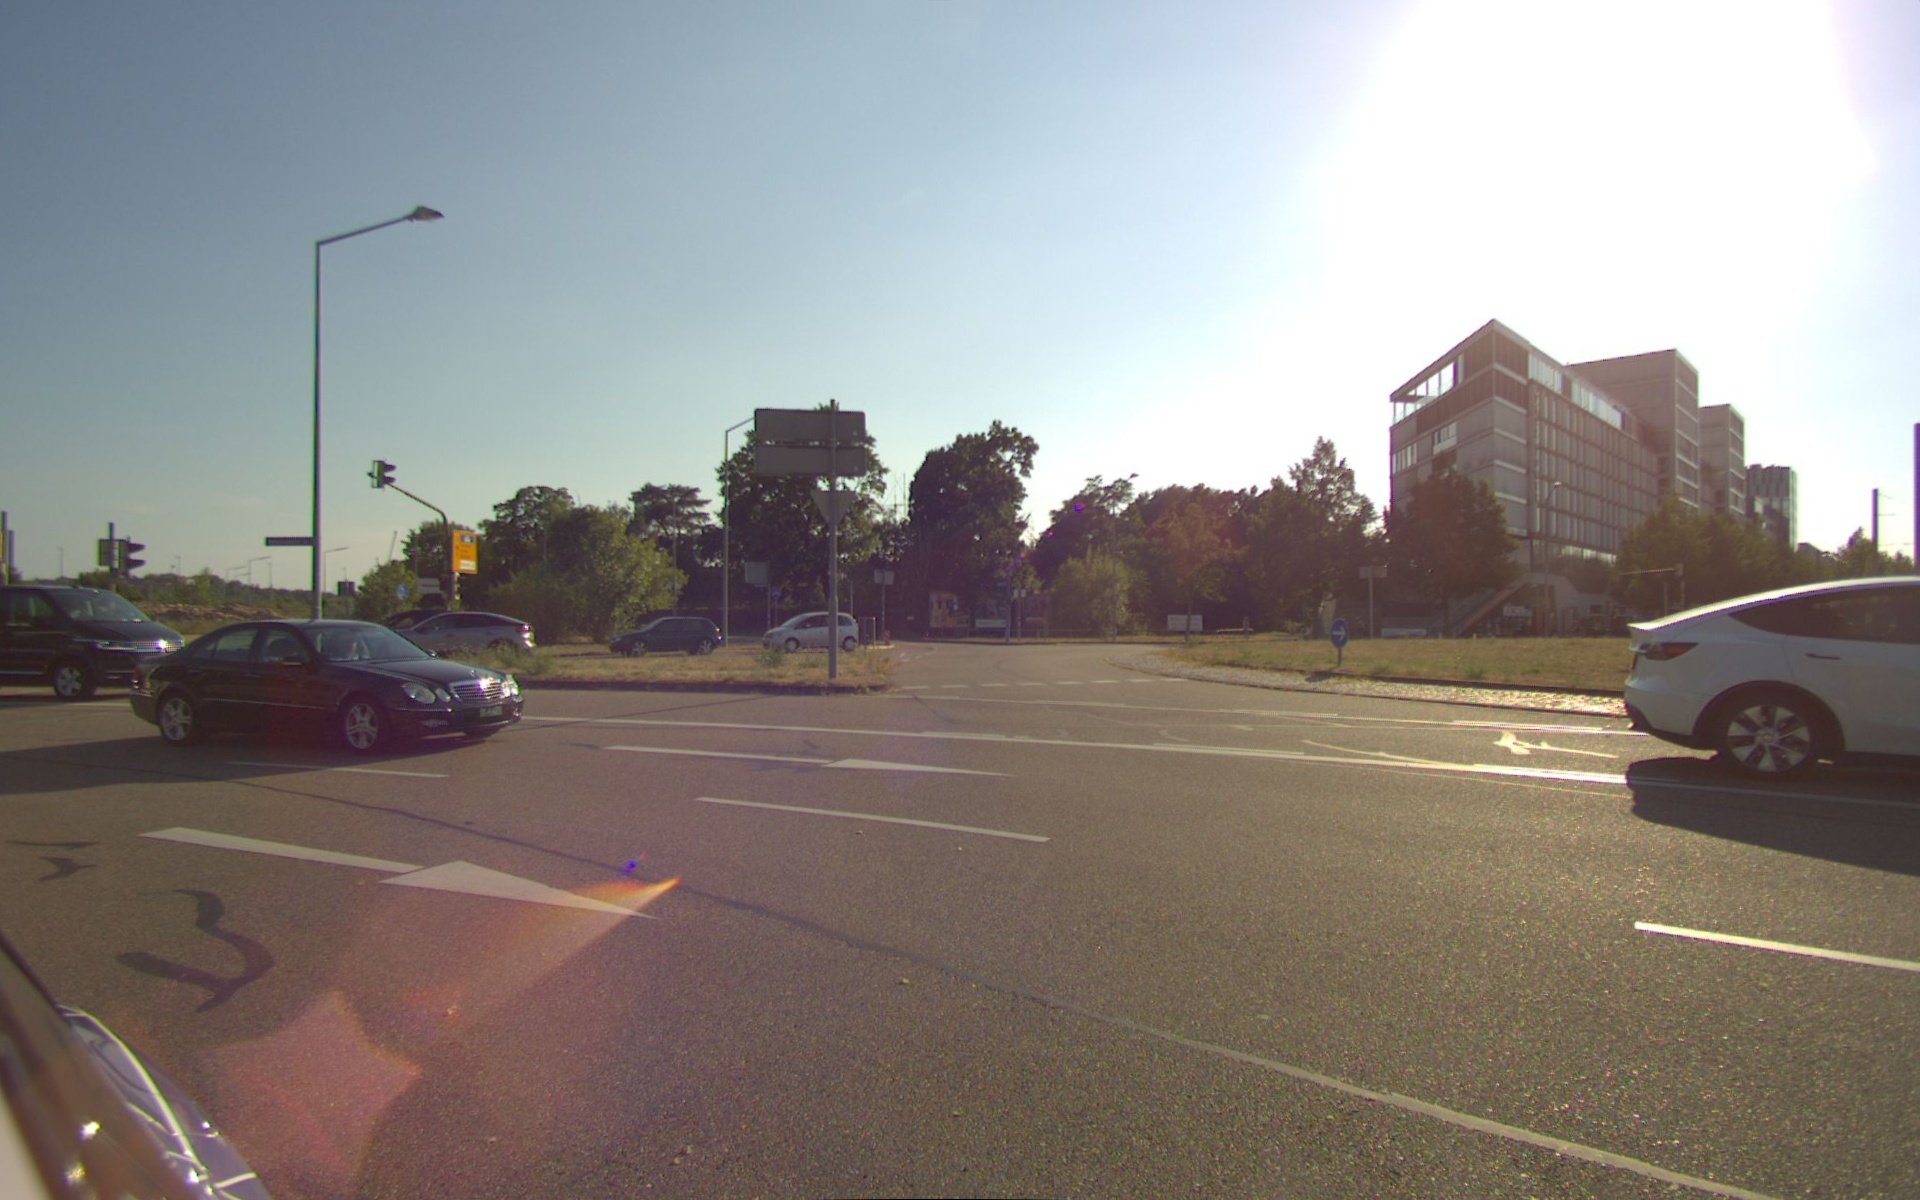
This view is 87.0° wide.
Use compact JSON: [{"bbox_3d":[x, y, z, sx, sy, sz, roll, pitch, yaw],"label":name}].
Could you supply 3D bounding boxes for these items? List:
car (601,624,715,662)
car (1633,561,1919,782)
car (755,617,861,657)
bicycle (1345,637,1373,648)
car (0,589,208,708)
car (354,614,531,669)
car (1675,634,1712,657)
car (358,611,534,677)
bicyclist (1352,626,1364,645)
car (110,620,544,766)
[{"bbox_3d":[-11.196,1.560,37.586,3.765,1.359,1.485,1,-1,-32],"label":"car"},{"bbox_3d":[7.956,0.513,7.732,4.666,1.611,1.720,0,0,35],"label":"car"},{"bbox_3d":[-6.116,1.448,40.865,3.877,1.537,1.661,0,-1,-33],"label":"car"},{"bbox_3d":[27.955,2.963,70.941,1.701,0.750,0.479,-1,-1,8],"label":"bicycle"},{"bbox_3d":[-16.204,0.780,17.596,4.944,1.946,1.862,0,0,1],"label":"car"},{"bbox_3d":[-15.271,1.185,30.015,4.564,1.524,1.658,0,-2,-29],"label":"car"},{"bbox_3d":[52.050,3.219,71.798,3.249,1.487,1.486,1,-2,-43],"label":"car"},{"bbox_3d":[-13.960,1.173,27.756,4.127,1.686,1.782,0,-1,-20],"label":"car"},{"bbox_3d":[27.920,2.512,70.982,0.646,1.336,0.517,-1,-1,8],"label":"bicyclist"},{"bbox_3d":[-7.303,0.973,11.762,4.454,1.447,1.802,0,0,16],"label":"car"}]
